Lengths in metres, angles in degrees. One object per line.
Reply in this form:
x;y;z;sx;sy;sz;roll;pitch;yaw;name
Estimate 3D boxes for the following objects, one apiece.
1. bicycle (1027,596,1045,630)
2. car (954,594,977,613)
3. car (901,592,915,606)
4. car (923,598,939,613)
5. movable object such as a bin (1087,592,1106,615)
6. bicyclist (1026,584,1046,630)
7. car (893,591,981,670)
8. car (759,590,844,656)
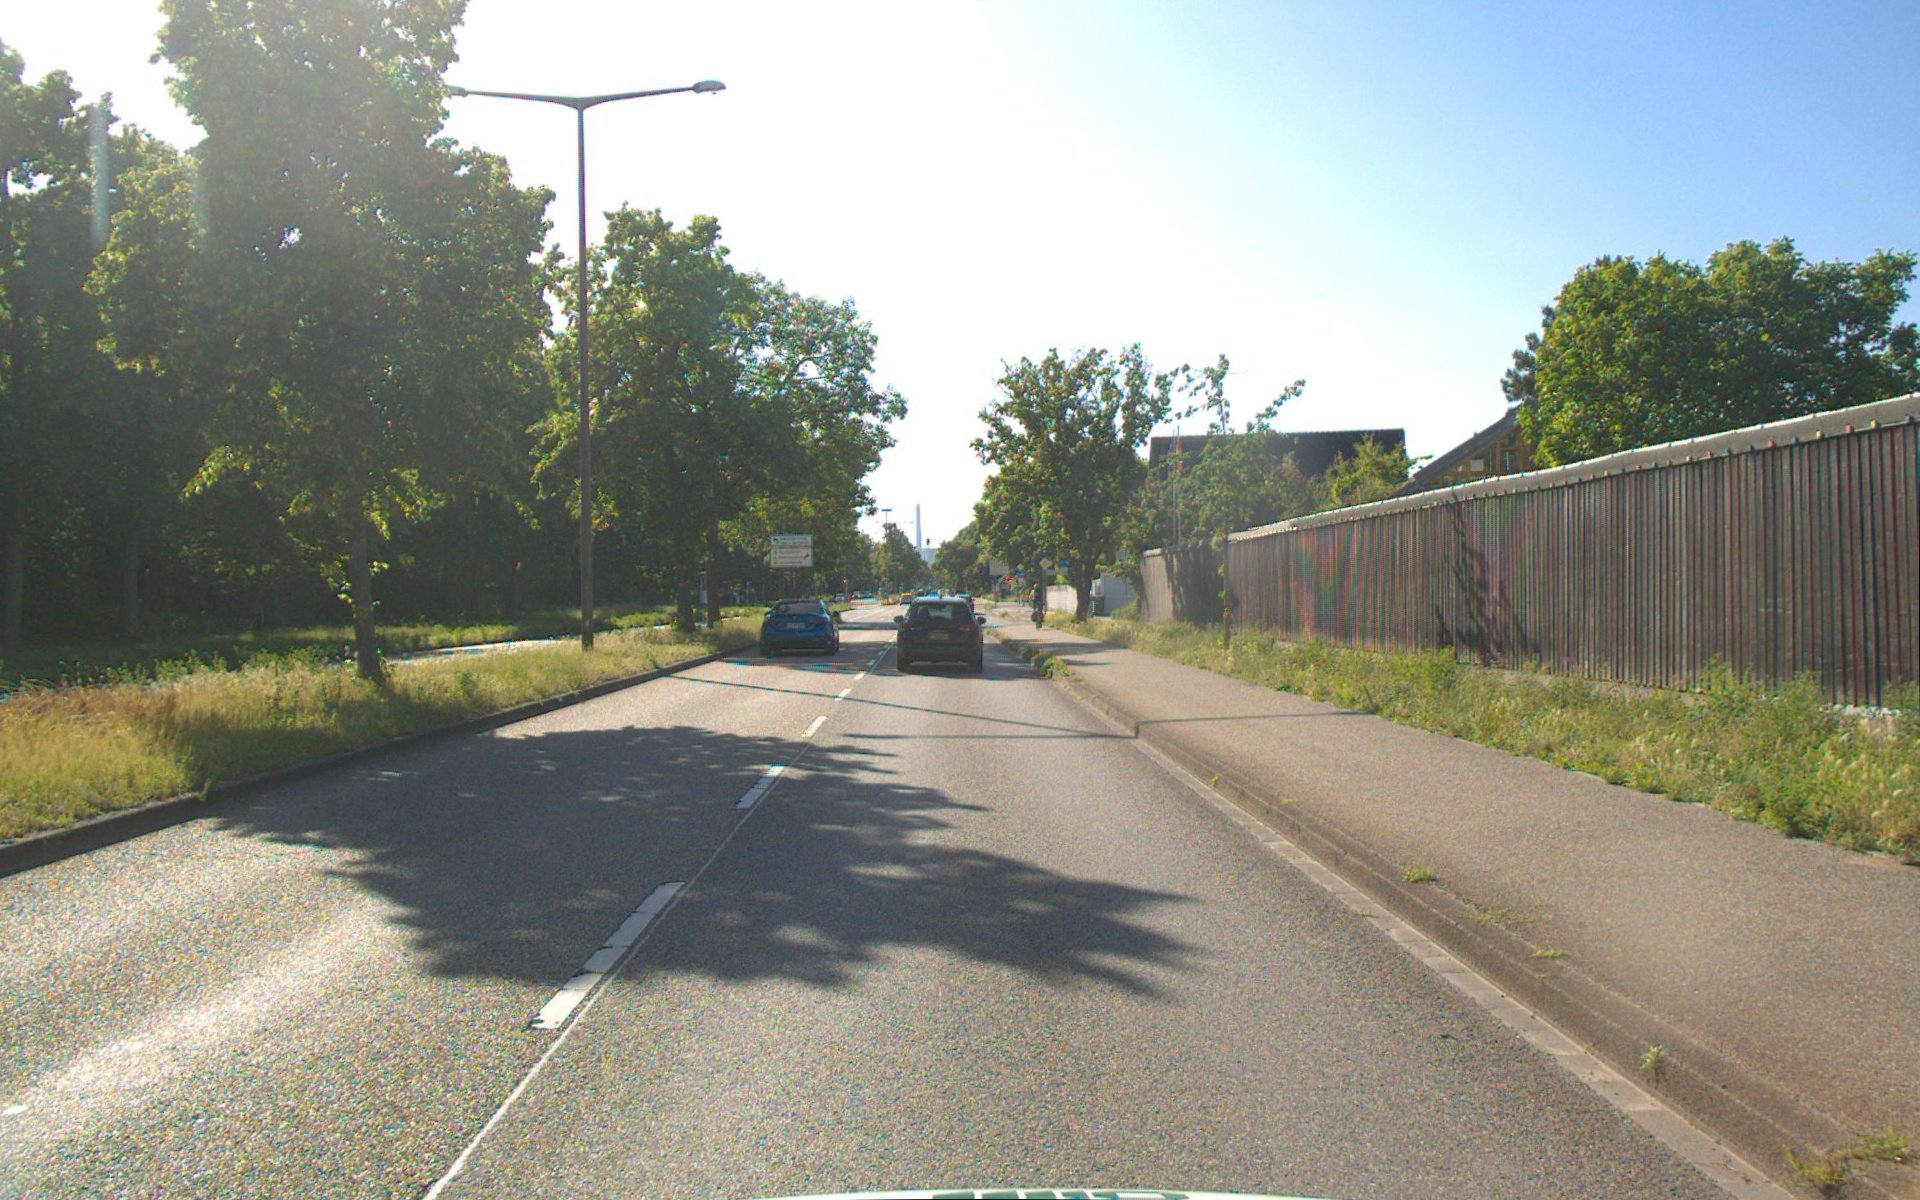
2.896;0.490;62.709;0.562;1.175;2.142;-4;1;4;bicycle
0.462;0.294;133.037;1.696;1.485;3.841;0;0;2;car
-6.549;-0.133;208.562;1.787;1.643;3.839;-2;1;-1;car
-3.208;0.615;181.328;1.697;1.613;3.839;1;0;-1;car
7.688;0.220;92.968;0.980;1.226;1.063;-3;-1;6;movable object such as a bin
2.869;0.252;62.683;0.617;1.661;0.982;-4;0;4;bicyclist
-0.478;0.611;34.217;1.720;1.535;3.807;0;0;-1;car
-4.043;0.571;42.660;1.850;1.579;3.999;-1;0;-1;car
